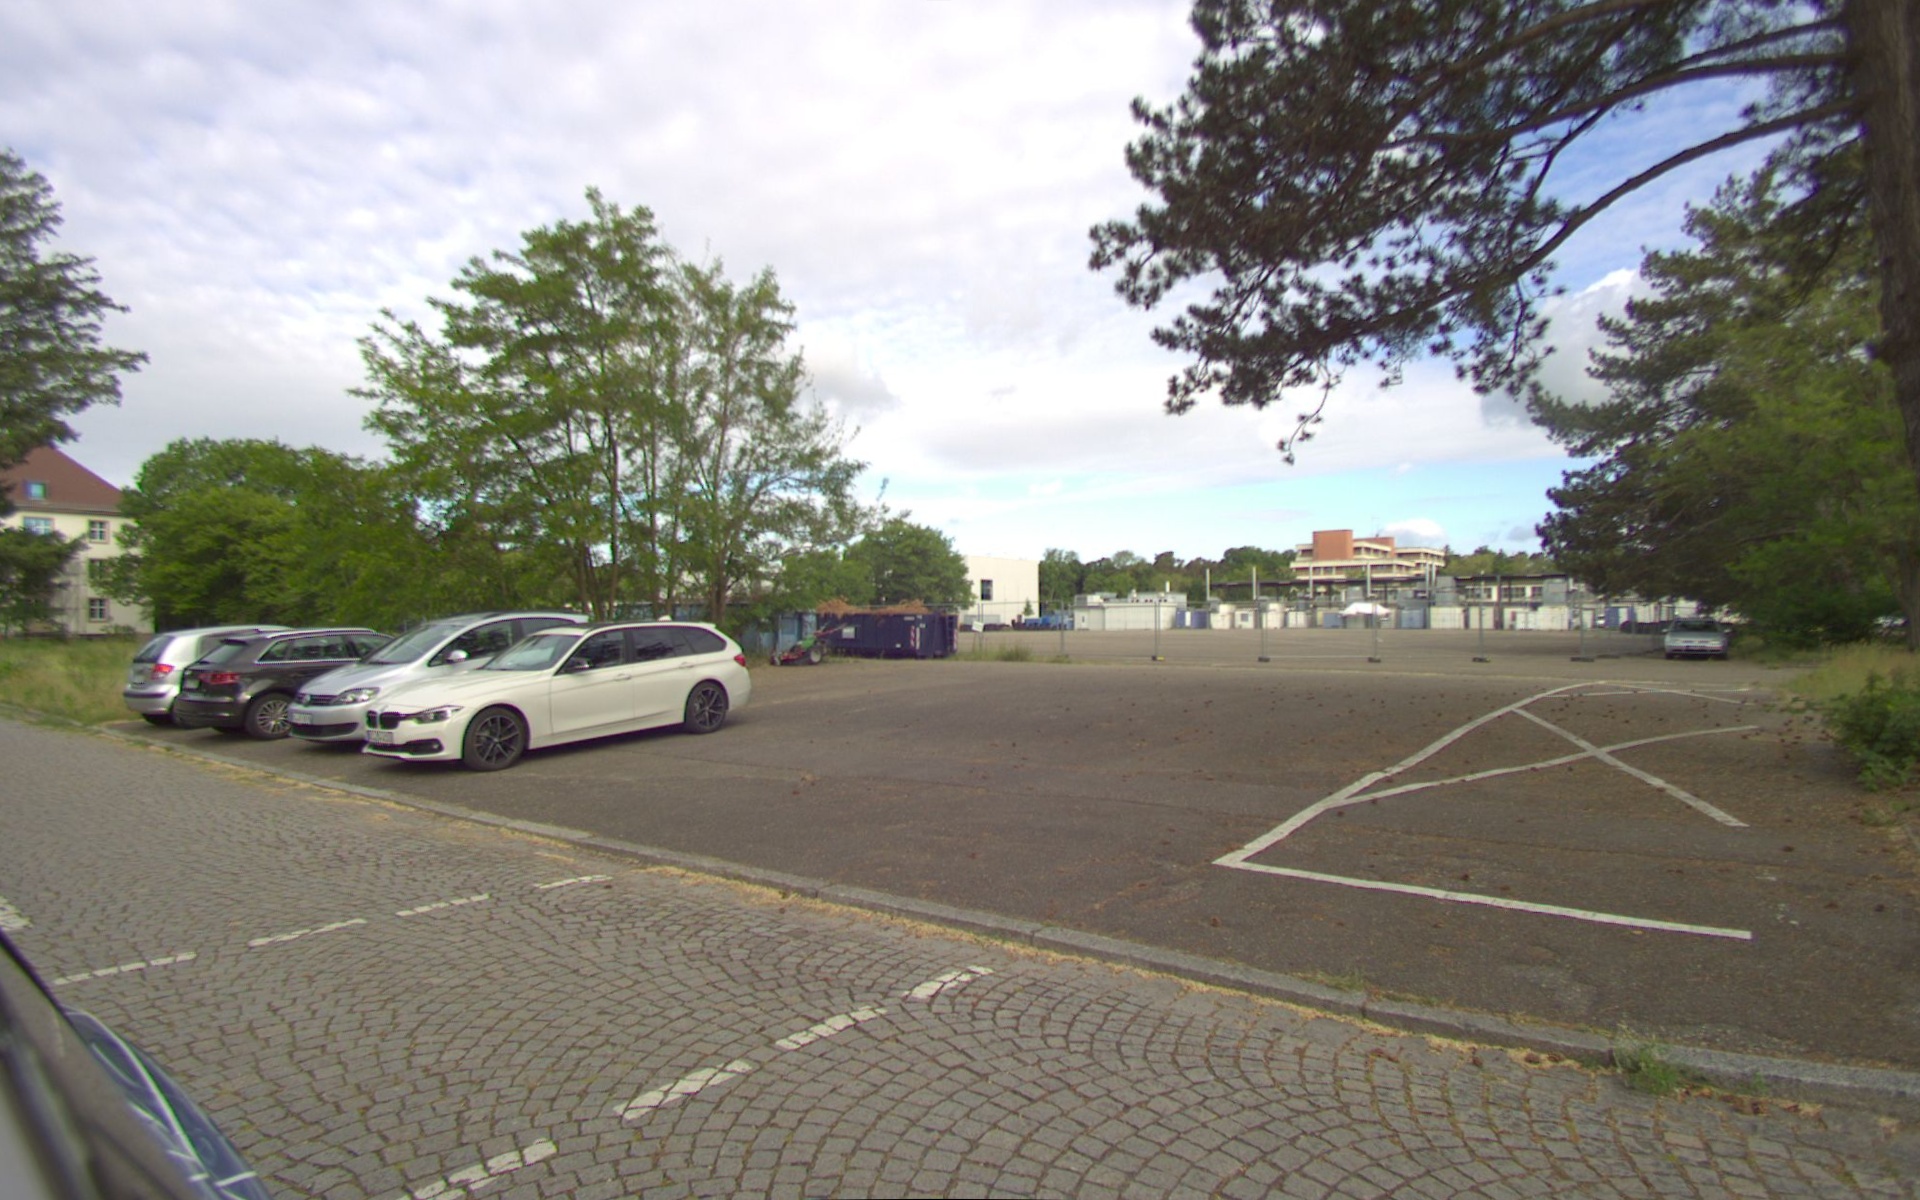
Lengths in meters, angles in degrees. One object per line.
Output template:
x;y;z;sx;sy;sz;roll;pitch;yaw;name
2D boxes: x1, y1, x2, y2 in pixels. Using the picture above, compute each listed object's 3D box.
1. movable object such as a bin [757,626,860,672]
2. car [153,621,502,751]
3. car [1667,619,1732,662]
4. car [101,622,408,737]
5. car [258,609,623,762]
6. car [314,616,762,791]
-4.096;1.298;27.463;1.500;1.170;2.365;-2;-2;43;movable object such as a bin
-9.050;1.127;14.774;1.748;1.438;3.951;-2;1;37;car
25.561;1.361;35.013;1.694;1.403;3.951;-2;-2;36;car
-11.271;1.183;16.391;1.803;1.463;3.648;-2;1;33;car
-6.673;0.987;13.406;1.719;1.559;3.955;-2;1;33;car
-4.644;1.018;11.881;1.797;1.454;4.609;-2;1;34;car
